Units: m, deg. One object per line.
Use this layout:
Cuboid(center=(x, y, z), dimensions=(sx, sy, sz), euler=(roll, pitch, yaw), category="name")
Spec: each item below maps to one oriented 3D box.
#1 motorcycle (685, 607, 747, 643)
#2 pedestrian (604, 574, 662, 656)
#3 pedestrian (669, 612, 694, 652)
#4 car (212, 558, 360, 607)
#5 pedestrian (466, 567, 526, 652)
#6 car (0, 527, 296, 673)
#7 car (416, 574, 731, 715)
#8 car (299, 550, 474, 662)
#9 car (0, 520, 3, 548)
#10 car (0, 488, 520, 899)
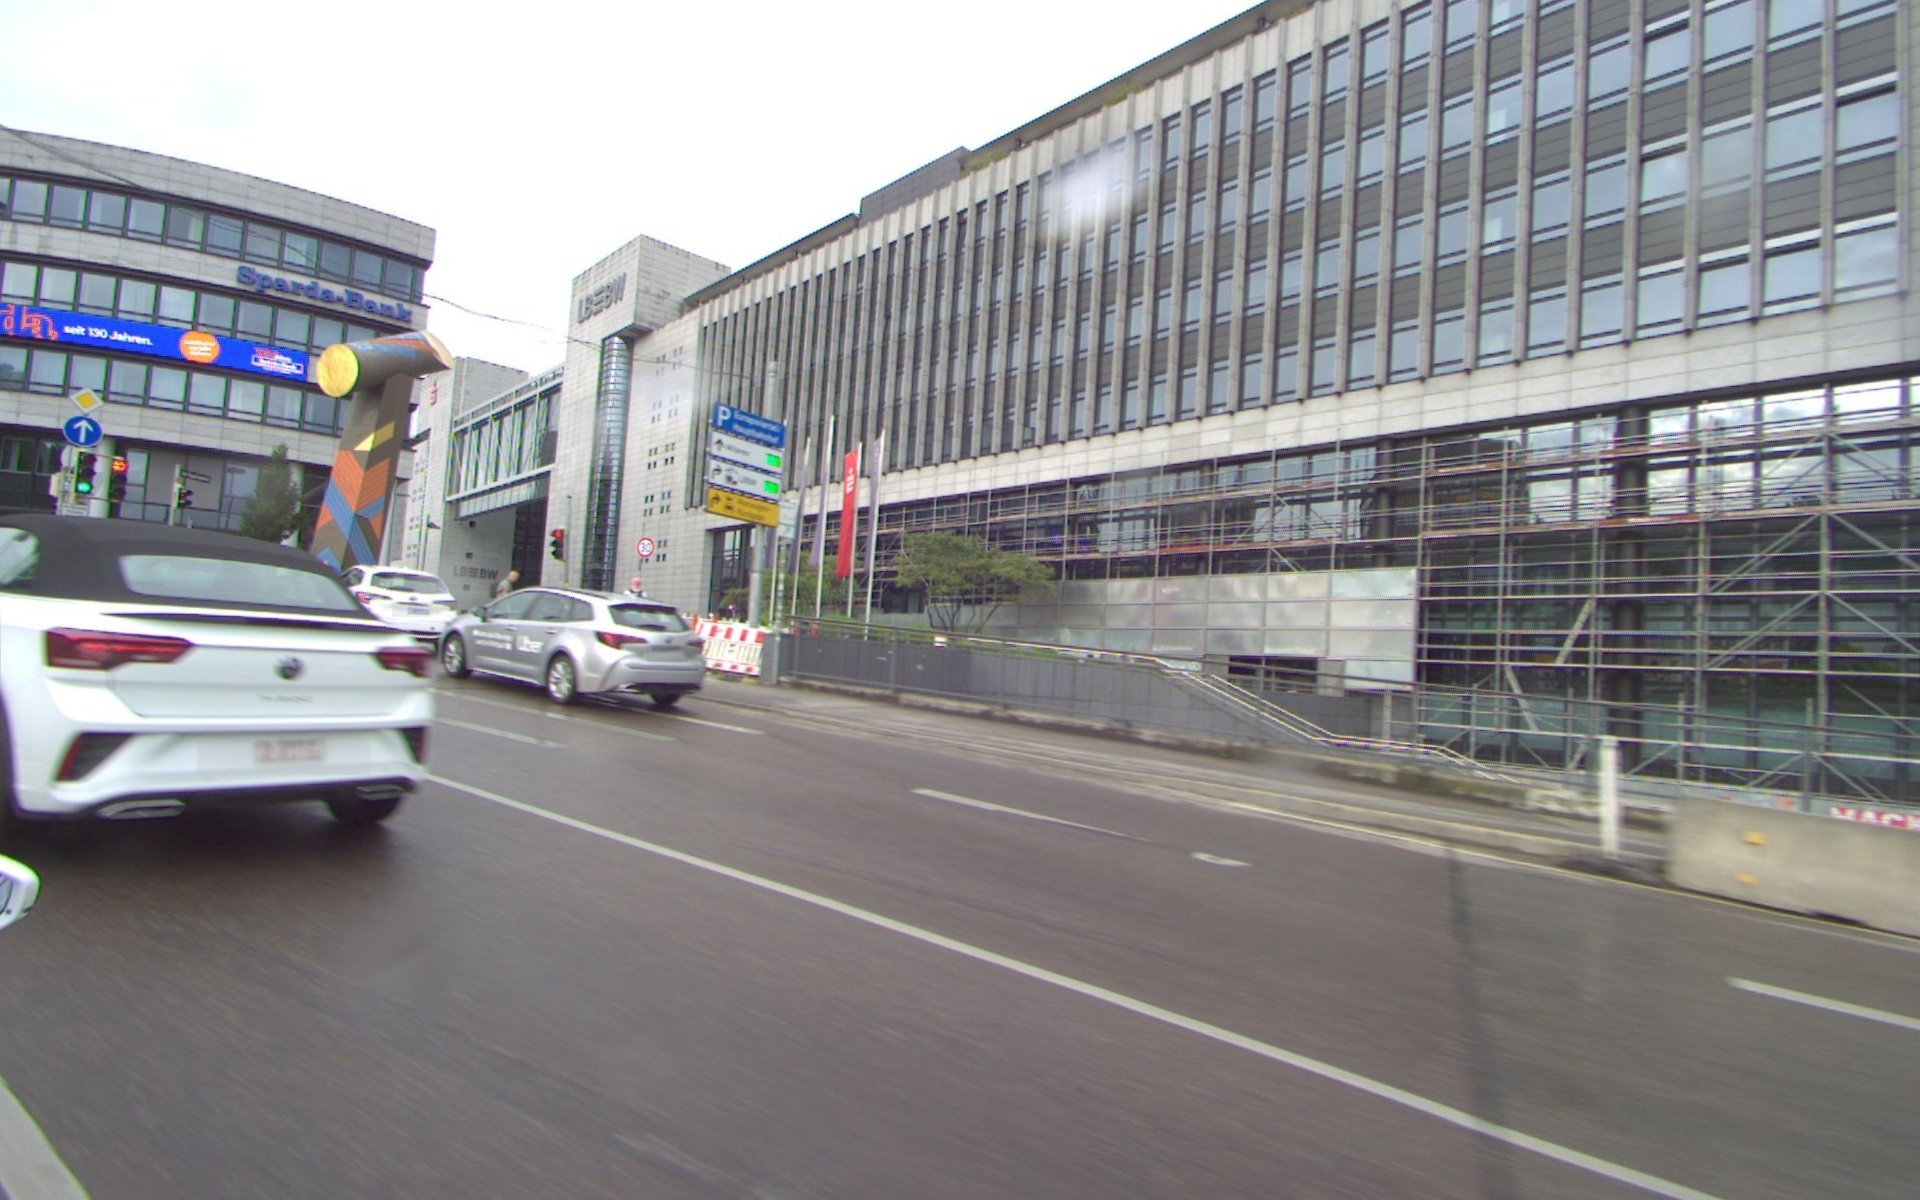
Cuboid(center=(-8.095, 0.837, 33.494), dimensions=(0.623, 1.095, 2.570), euler=(6, 1, 20), category="motorcycle")
Cuboid(center=(-7.279, 0.346, 22.416), dimensions=(0.829, 1.730, 0.731), euler=(3, -3, 27), category="pedestrian")
Cuboid(center=(-13.671, 1.567, 49.341), dimensions=(0.957, 1.838, 0.778), euler=(5, -3, -22), category="pedestrian")
Cuboid(center=(-27.904, -0.699, 41.789), dimensions=(1.841, 1.457, 4.698), euler=(2, -5, 39), category="car")
Cuboid(center=(-12.436, 0.277, 27.001), dimensions=(0.887, 2.121, 0.856), euler=(7, -3, 5), category="pedestrian")
Cuboid(center=(-10.495, -0.026, 12.725), dimensions=(4.158, 1.422, 1.759), euler=(4, -5, 31), category="car")
Cuboid(center=(-5.387, 0.564, 13.789), dimensions=(4.545, 1.467, 1.702), euler=(3, -4, 36), category="car")
Cuboid(center=(-10.662, 0.049, 18.538), dimensions=(1.765, 1.653, 4.528), euler=(8, -2, -42), category="car")
Cuboid(center=(-11.933, -0.322, 10.262), dimensions=(3.929, 1.460, 1.745), euler=(5, -2, 25), category="car")
Cuboid(center=(-4.746, 0.301, 5.794), dimensions=(4.150, 1.566, 1.967), euler=(5, -2, 33), category="car")
